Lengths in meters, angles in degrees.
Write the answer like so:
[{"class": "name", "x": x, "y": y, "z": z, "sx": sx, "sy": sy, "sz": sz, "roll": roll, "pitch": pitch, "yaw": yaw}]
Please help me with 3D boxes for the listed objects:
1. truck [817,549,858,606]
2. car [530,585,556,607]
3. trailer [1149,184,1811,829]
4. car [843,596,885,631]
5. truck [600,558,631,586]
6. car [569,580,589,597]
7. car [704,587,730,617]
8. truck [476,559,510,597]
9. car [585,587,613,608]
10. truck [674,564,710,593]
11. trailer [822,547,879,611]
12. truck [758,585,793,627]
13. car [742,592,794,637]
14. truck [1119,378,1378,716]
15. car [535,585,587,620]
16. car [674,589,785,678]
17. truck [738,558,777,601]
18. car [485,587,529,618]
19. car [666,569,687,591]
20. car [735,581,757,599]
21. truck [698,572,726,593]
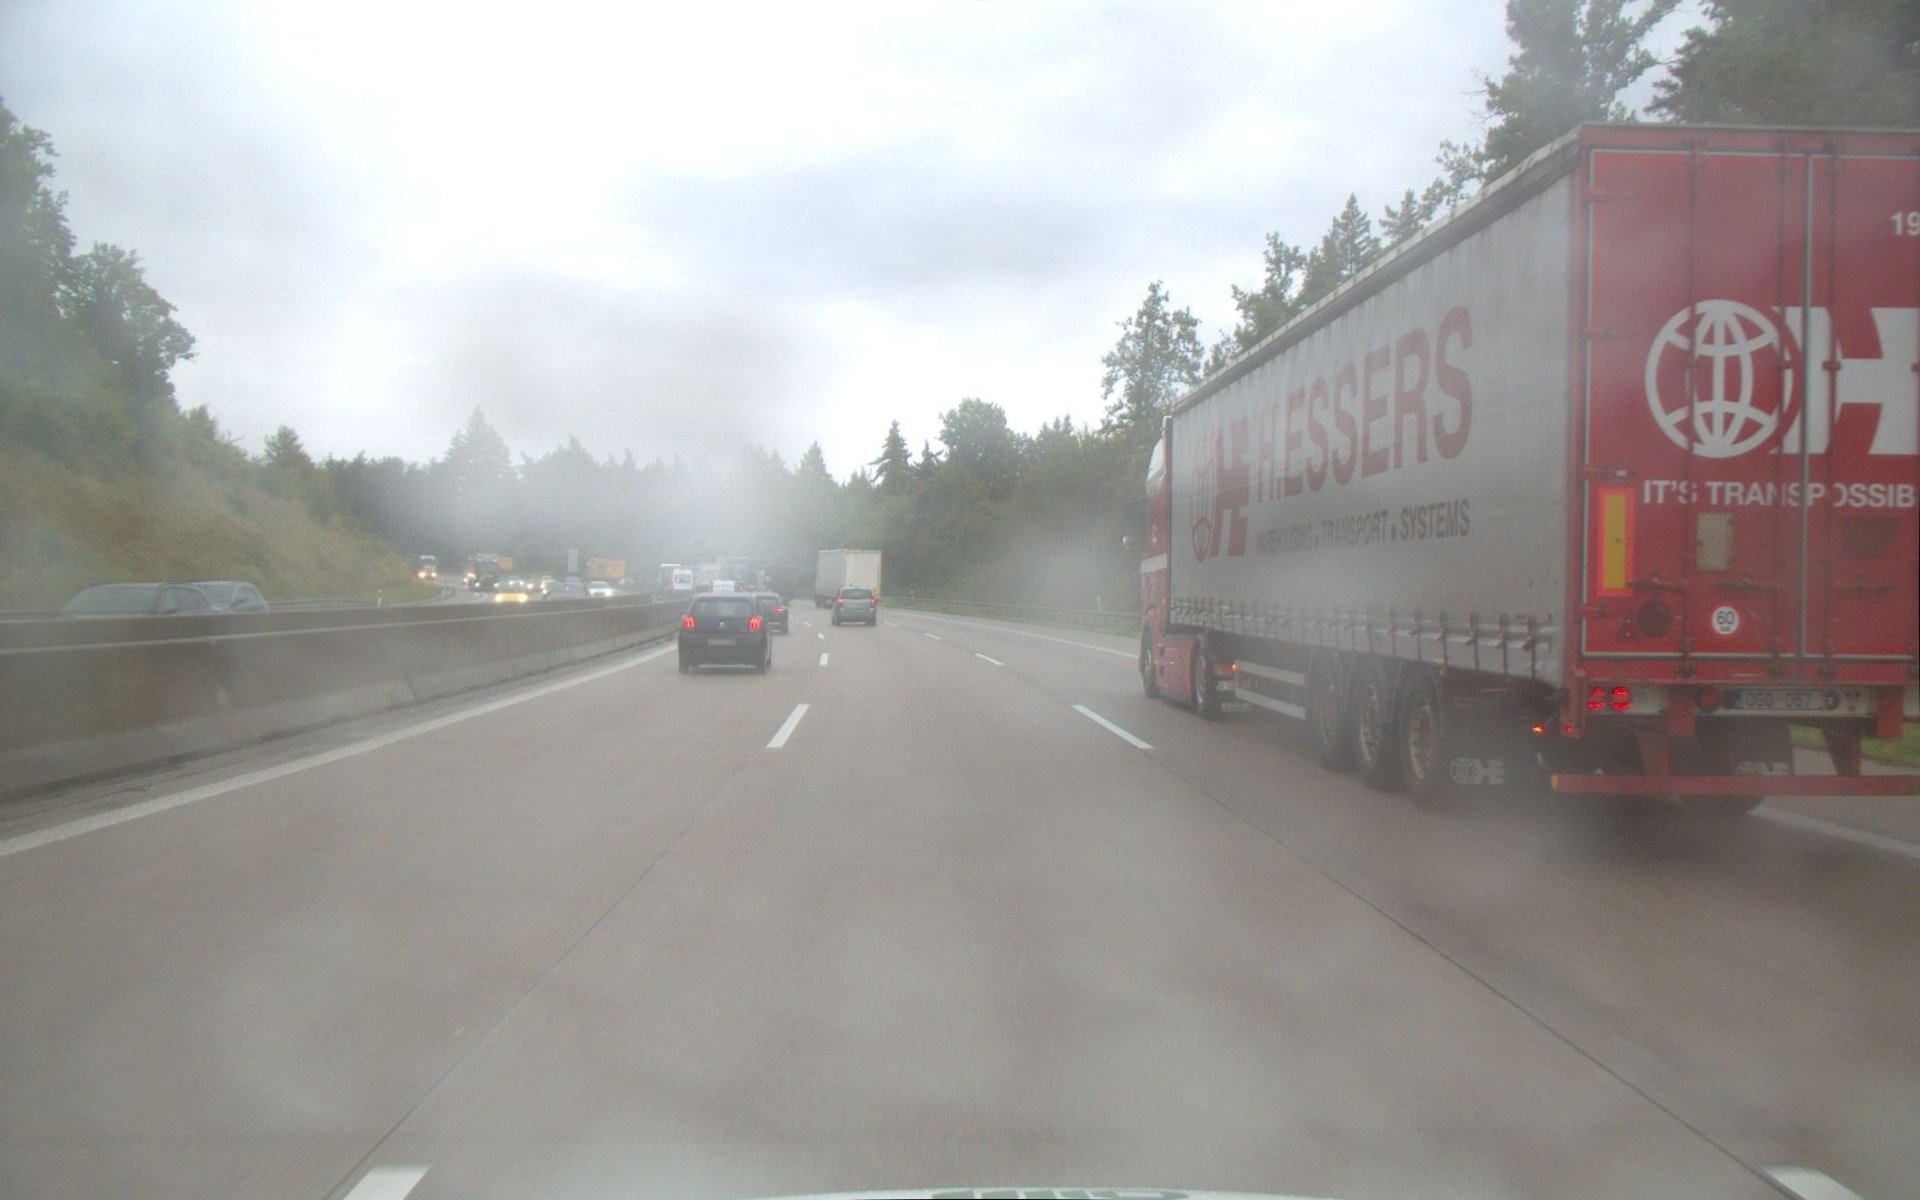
[{"class": "truck", "x": -9.104, "y": -1.678, "z": 122.243, "sx": 2.377, "sy": 4.139, "sz": 4.965, "roll": 1, "pitch": 1, "yaw": -11}, {"class": "car", "x": -33.491, "y": -0.356, "z": 132.961, "sx": 1.776, "sy": 1.713, "sz": 3.990, "roll": 0, "pitch": 0, "yaw": -11}, {"class": "trailer", "x": 3.983, "y": -0.605, "z": 16.614, "sx": 2.323, "sy": 4.023, "sz": 12.516, "roll": 0, "pitch": 0, "yaw": -2}, {"class": "car", "x": -4.050, "y": 0.560, "z": 70.138, "sx": 1.522, "sy": 1.375, "sz": 3.683, "roll": 3, "pitch": 0, "yaw": 0}, {"class": "truck", "x": -52.262, "y": -4.215, "z": 250.969, "sx": 3.685, "sy": 4.283, "sz": 6.777, "roll": 0, "pitch": 0, "yaw": -20}, {"class": "car", "x": -41.092, "y": -1.201, "z": 178.524, "sx": 1.958, "sy": 1.799, "sz": 4.525, "roll": 0, "pitch": 0, "yaw": -11}, {"class": "car", "x": -16.855, "y": 0.144, "z": 115.040, "sx": 1.692, "sy": 2.049, "sz": 3.651, "roll": 0, "pitch": 0, "yaw": -7}, {"class": "truck", "x": -50.909, "y": -2.398, "z": 180.370, "sx": 2.874, "sy": 4.029, "sz": 8.096, "roll": 0, "pitch": 0, "yaw": -11}, {"class": "car", "x": -27.119, "y": -0.194, "z": 124.355, "sx": 1.709, "sy": 1.588, "sz": 4.276, "roll": 0, "pitch": 0, "yaw": -7}, {"class": "truck", "x": -30.305, "y": -2.463, "z": 186.668, "sx": 3.033, "sy": 2.956, "sz": 7.868, "roll": 1, "pitch": 2, "yaw": -16}, {"class": "trailer", "x": -7.716, "y": -1.510, "z": 115.245, "sx": 2.376, "sy": 4.139, "sz": 12.023, "roll": 1, "pitch": 1, "yaw": -11}, {"class": "truck", "x": -14.539, "y": 0.425, "z": 129.705, "sx": 2.228, "sy": 2.937, "sz": 7.886, "roll": 1, "pitch": 2, "yaw": -10}, {"class": "car", "x": -6.538, "y": 0.471, "z": 56.584, "sx": 1.523, "sy": 1.375, "sz": 3.681, "roll": 3, "pitch": 0, "yaw": -4}, {"class": "truck", "x": 3.756, "y": -0.643, "z": 22.913, "sx": 2.327, "sy": 4.023, "sz": 6.158, "roll": 1, "pitch": 0, "yaw": -2}, {"class": "car", "x": -18.532, "y": 0.105, "z": 76.963, "sx": 1.828, "sy": 1.575, "sz": 3.995, "roll": 0, "pitch": 0, "yaw": -6}, {"class": "car", "x": -4.277, "y": 0.583, "z": 31.106, "sx": 1.650, "sy": 1.487, "sz": 3.682, "roll": 3, "pitch": 0, "yaw": -3}, {"class": "truck", "x": -20.596, "y": -2.132, "z": 167.906, "sx": 3.308, "sy": 4.203, "sz": 10.414, "roll": 1, "pitch": 1, "yaw": -10}, {"class": "car", "x": -23.005, "y": 0.093, "z": 84.129, "sx": 1.544, "sy": 1.513, "sz": 4.277, "roll": 0, "pitch": 1, "yaw": -7}, {"class": "car", "x": -27.271, "y": -1.923, "z": 159.006, "sx": 1.957, "sy": 2.095, "sz": 3.990, "roll": 0, "pitch": 0, "yaw": -10}, {"class": "car", "x": -18.944, "y": -0.885, "z": 146.199, "sx": 1.846, "sy": 1.498, "sz": 3.994, "roll": 3, "pitch": 0, "yaw": -7}, {"class": "truck", "x": -29.783, "y": -2.153, "z": 198.598, "sx": 2.921, "sy": 2.349, "sz": 6.650, "roll": 3, "pitch": 0, "yaw": -11}]
